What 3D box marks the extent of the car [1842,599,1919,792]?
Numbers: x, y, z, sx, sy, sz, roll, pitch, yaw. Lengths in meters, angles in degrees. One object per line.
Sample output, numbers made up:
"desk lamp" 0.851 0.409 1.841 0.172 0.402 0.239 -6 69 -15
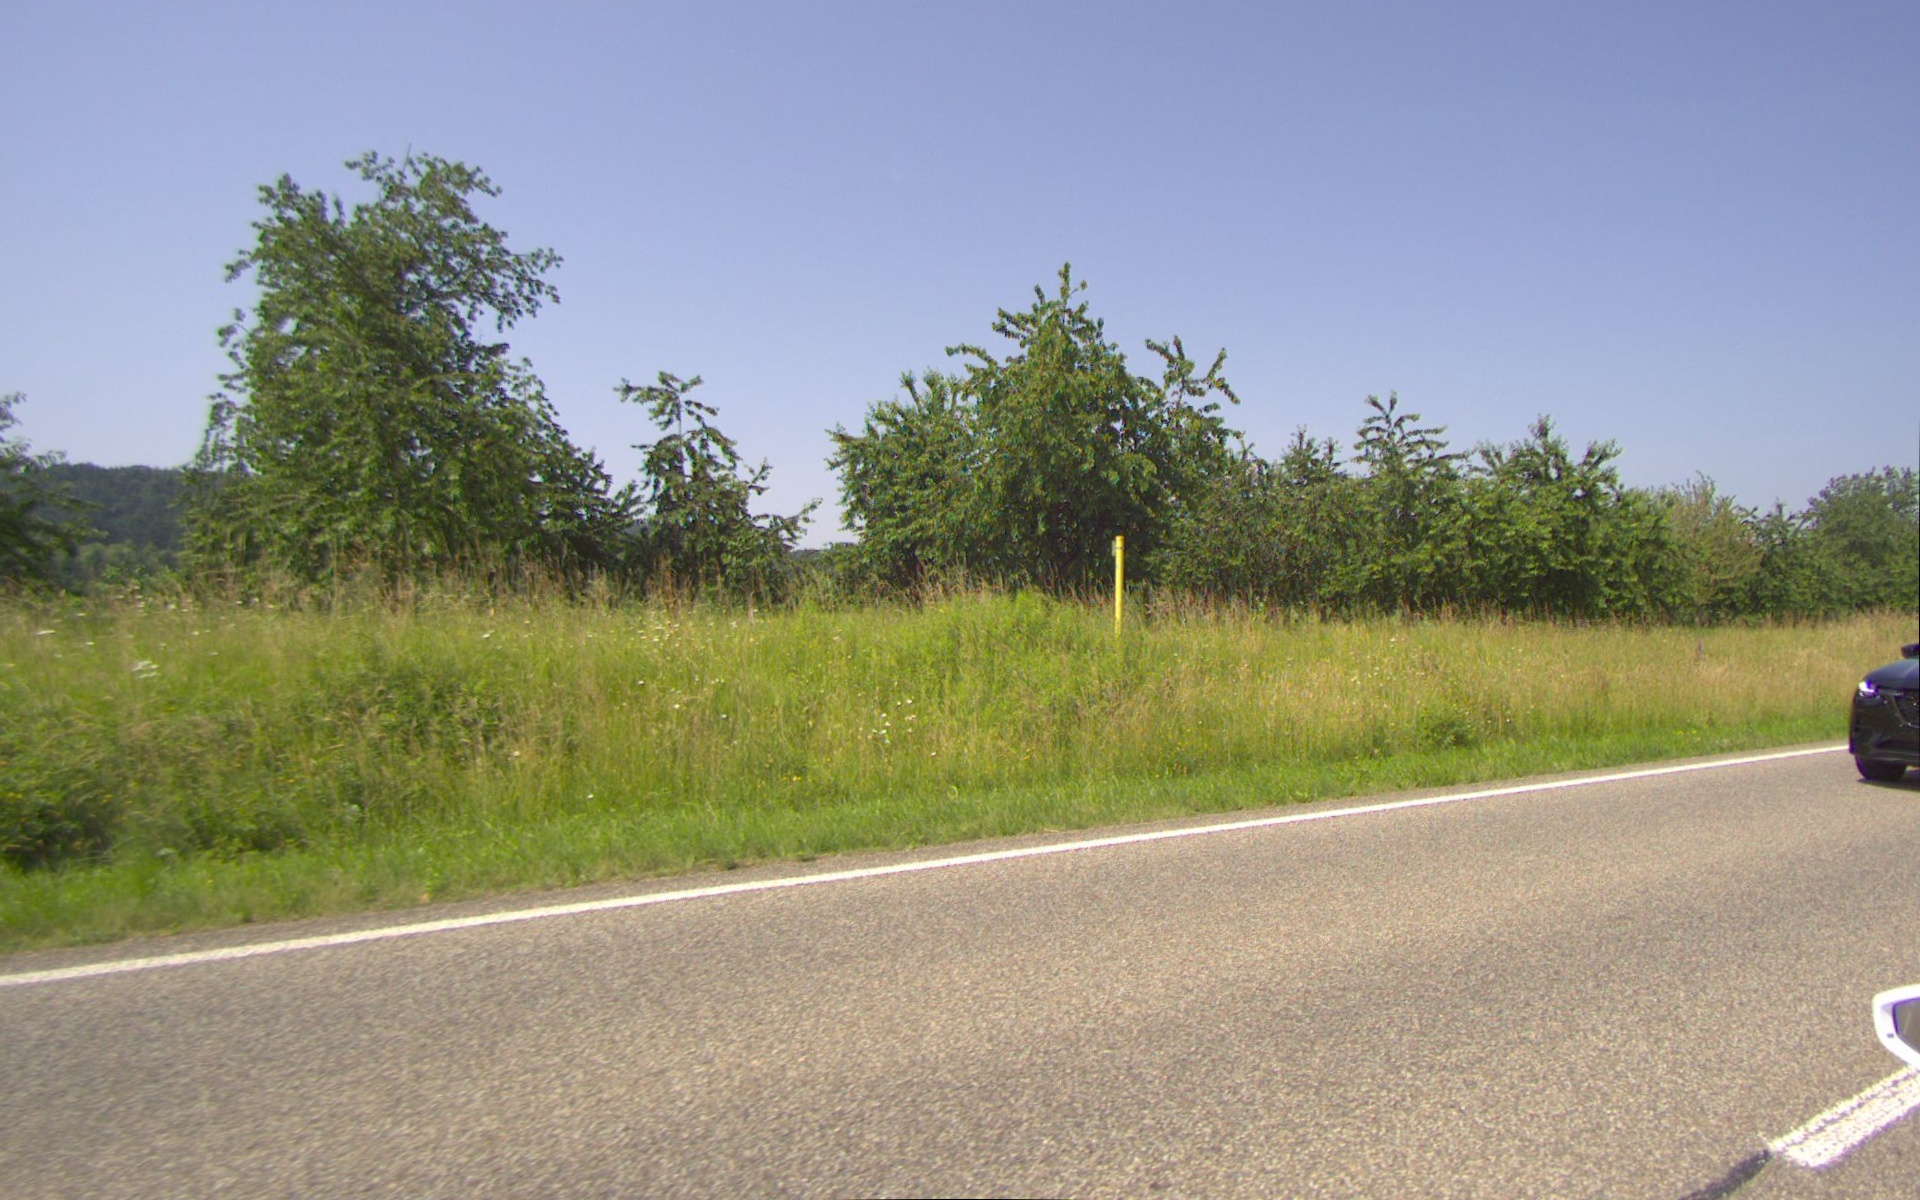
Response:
"car" 10.524 0.883 9.656 4.359 1.700 1.827 1 -1 -31
